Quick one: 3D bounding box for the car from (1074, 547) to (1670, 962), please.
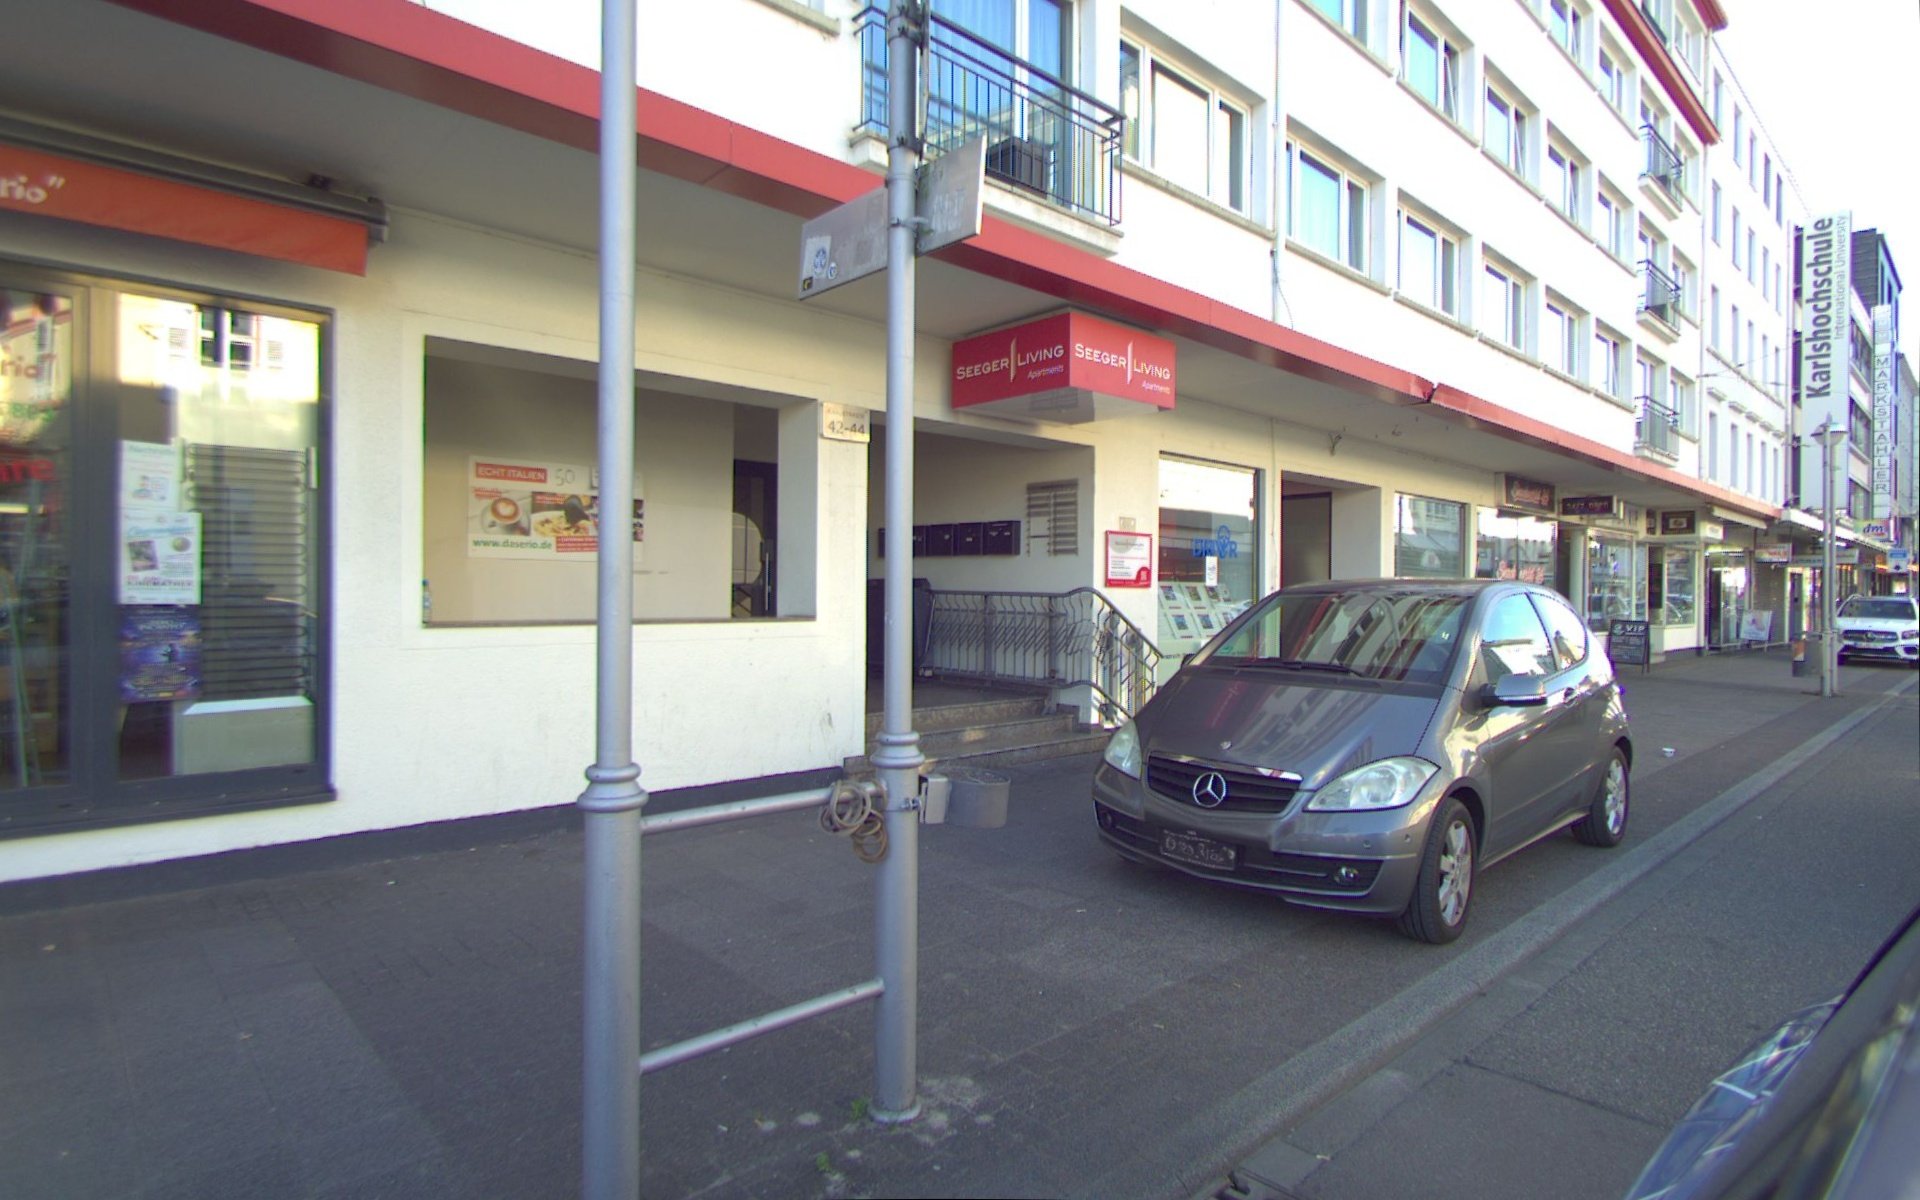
[{"bbox_3d":[2.570,0.584,5.792,3.932,1.565,1.681,0,0,-43],"label":"car"}]

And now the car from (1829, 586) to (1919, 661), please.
[{"bbox_3d":[22.402,0.518,24.354,1.994,1.650,3.935,1,1,45],"label":"car"}]
